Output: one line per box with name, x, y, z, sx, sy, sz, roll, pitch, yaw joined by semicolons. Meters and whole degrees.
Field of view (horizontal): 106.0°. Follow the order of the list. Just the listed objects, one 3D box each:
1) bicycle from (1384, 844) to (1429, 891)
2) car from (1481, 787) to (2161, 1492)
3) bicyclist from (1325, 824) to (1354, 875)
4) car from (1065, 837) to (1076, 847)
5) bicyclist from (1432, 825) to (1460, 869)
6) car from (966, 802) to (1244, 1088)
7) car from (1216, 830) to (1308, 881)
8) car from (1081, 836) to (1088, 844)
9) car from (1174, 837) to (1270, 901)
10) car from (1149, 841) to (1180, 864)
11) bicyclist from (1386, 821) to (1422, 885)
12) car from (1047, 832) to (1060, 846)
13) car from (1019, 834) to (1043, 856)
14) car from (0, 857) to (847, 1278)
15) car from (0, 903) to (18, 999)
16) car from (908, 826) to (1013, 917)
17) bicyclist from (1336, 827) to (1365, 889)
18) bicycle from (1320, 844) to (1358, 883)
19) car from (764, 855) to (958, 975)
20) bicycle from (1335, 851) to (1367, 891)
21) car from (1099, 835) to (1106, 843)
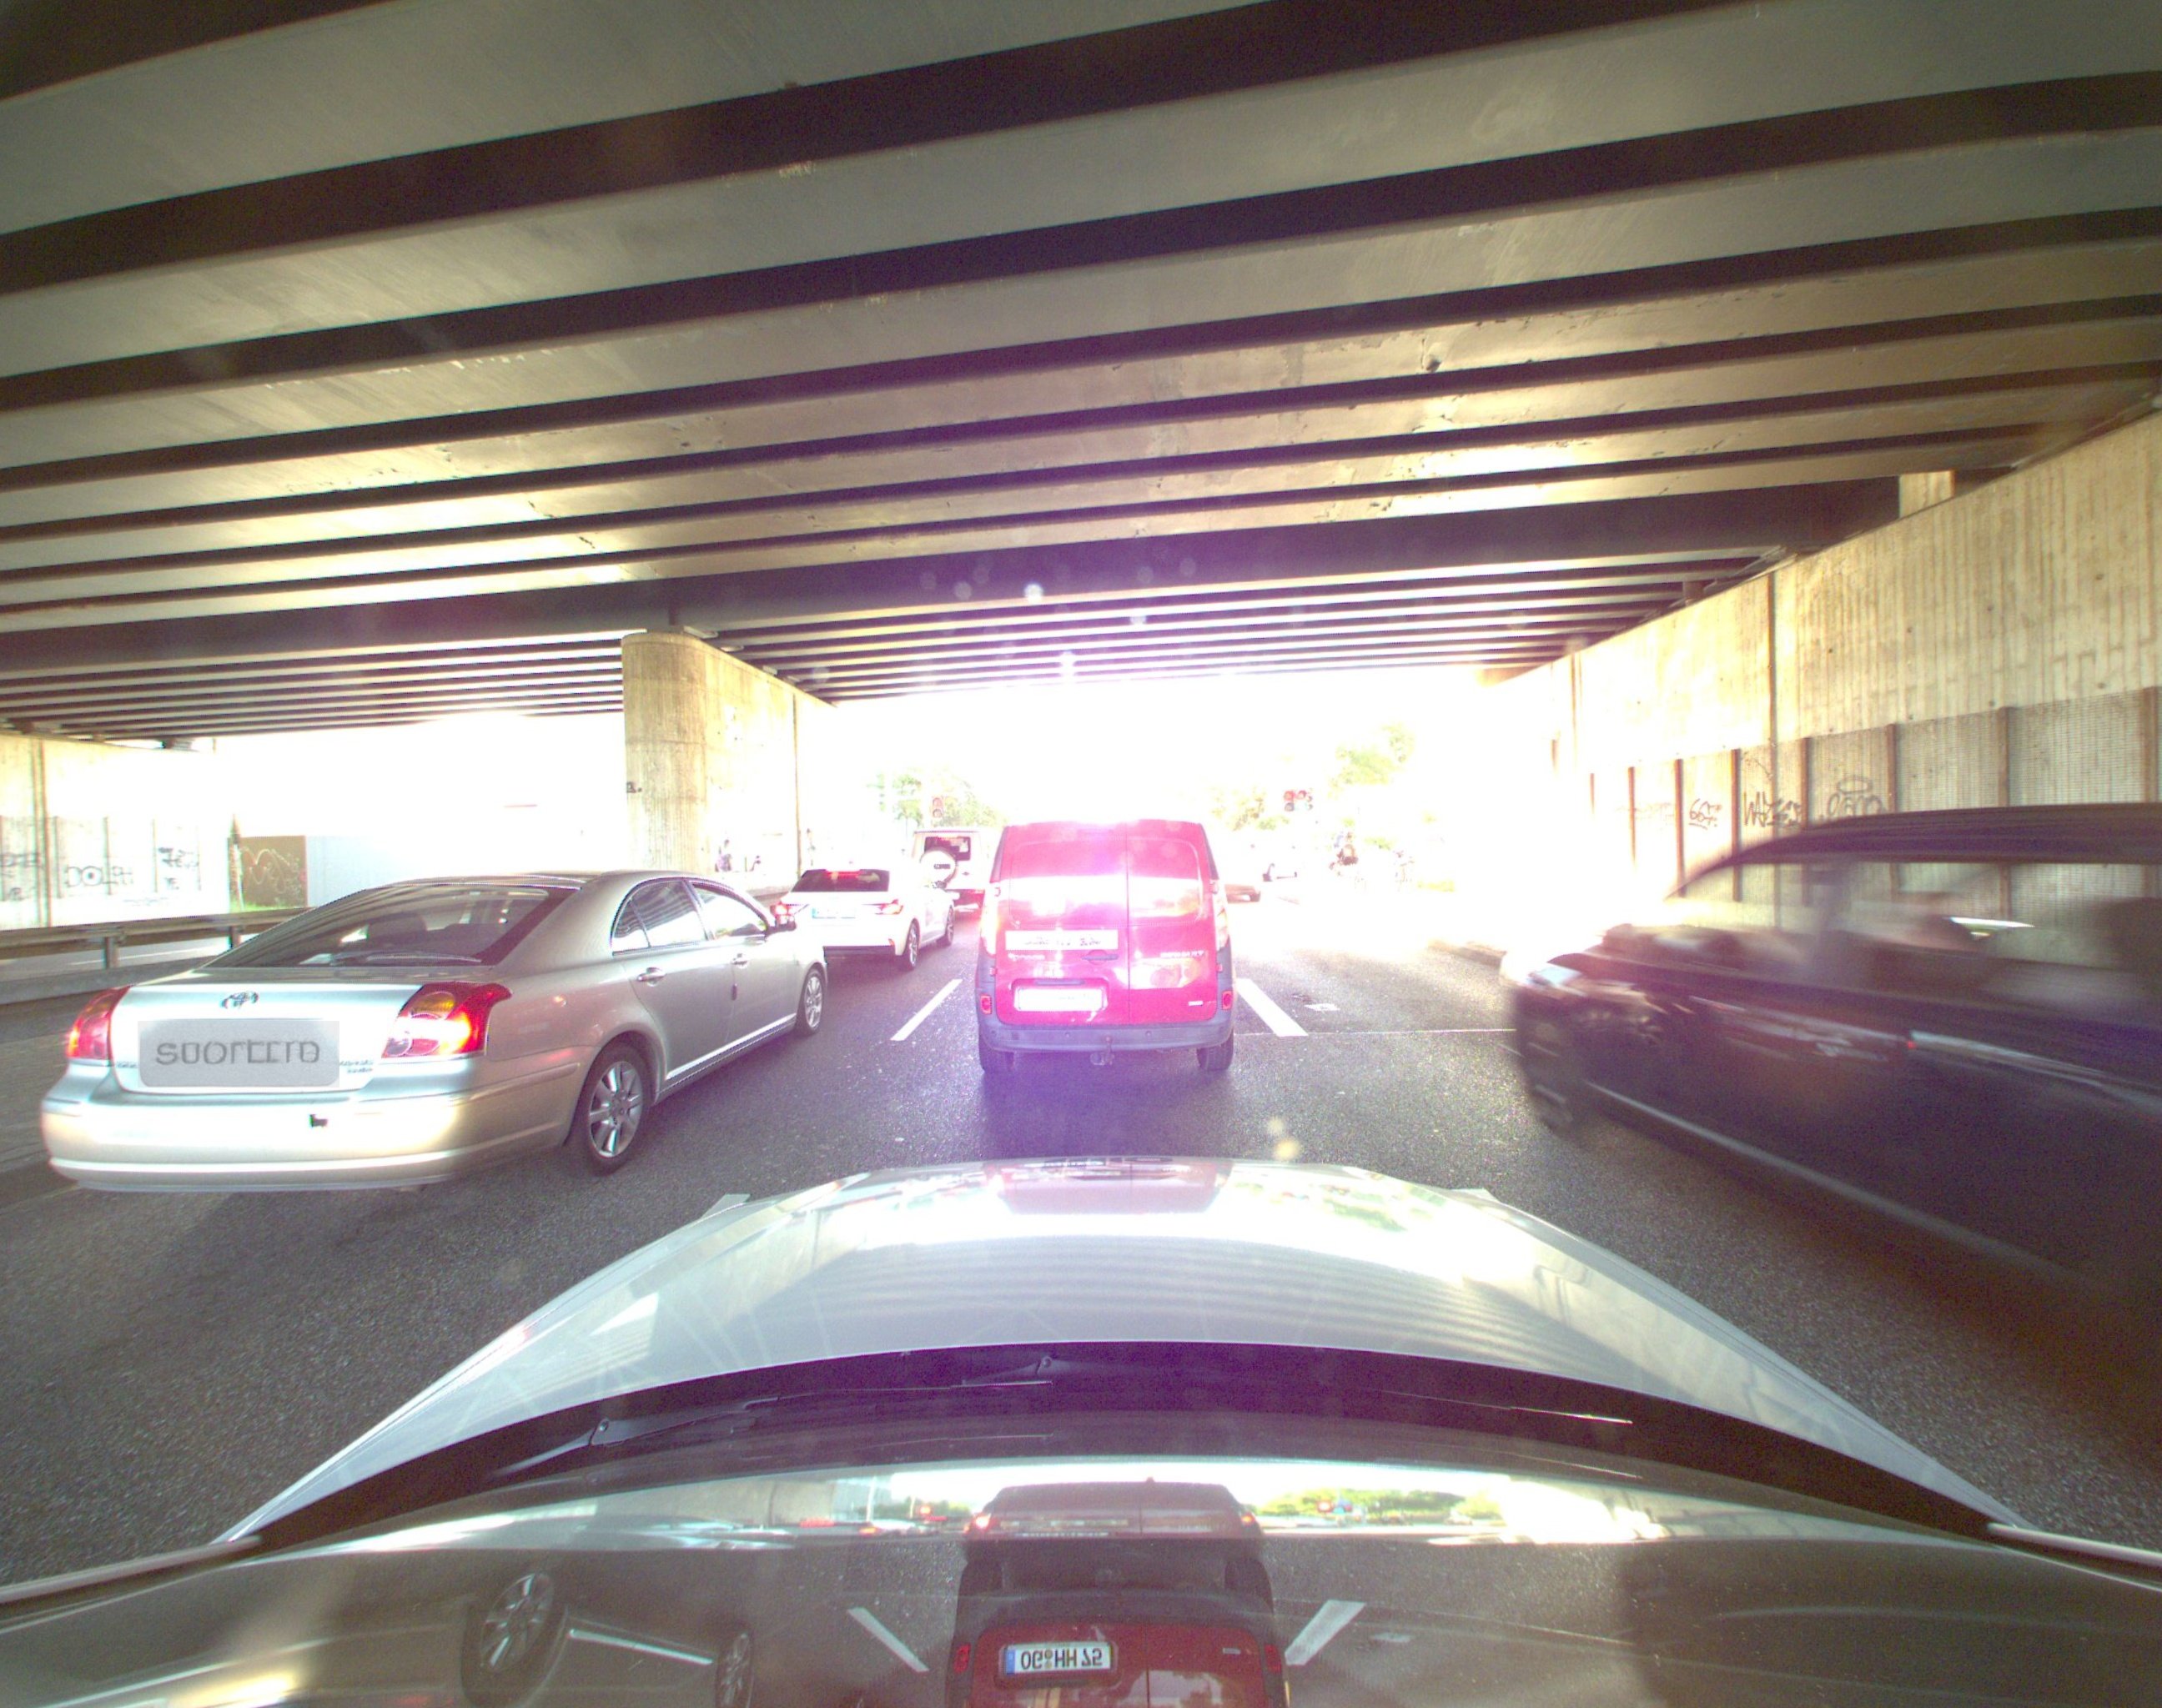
bicycle;8.208;0.337;20.595;0.677;1.113;1.607;-2;-1;8
car;3.332;0.652;2.913;1.769;1.601;4.104;0;0;0
bicyclist;8.042;-0.133;25.311;0.646;1.534;0.852;-1;0;32
car;-2.145;-2.544;168.210;1.986;2.014;4.001;0;0;2
bicyclist;13.926;-0.272;31.069;0.739;1.655;0.892;-1;0;41
car;0.210;0.564;7.064;1.712;1.764;4.002;0;0;2
car;7.288;-0.002;32.416;1.879;1.836;4.867;-1;1;34
car;0.905;-3.634;216.638;1.922;2.014;3.915;0;0;2
car;3.825;0.400;22.830;1.986;1.551;4.422;-2;-1;1
car;5.356;-0.103;52.740;1.739;1.456;3.718;0;0;2
bicyclist;8.215;-0.024;20.732;0.666;1.561;0.737;-2;-1;8
car;-4.223;-2.282;126.016;1.741;2.014;3.846;0;0;2
car;-4.832;-0.862;79.947;1.986;2.014;4.001;0;0;2
car;-2.990;0.770;5.102;1.690;1.455;4.399;0;0;1
car;-14.207;1.247;8.202;1.678;1.175;4.000;-3;0;0
car;-2.690;0.362;19.046;1.807;1.904;3.814;0;0;1
bicyclist;7.173;0.115;21.680;0.673;1.629;0.646;0;-1;12
bicycle;8.006;0.284;25.233;0.644;1.167;1.789;-1;0;32
car;-2.923;0.733;11.667;1.687;1.410;3.814;0;0;1
bicycle;7.172;0.434;21.681;0.672;1.024;1.534;0;0;12
car;5.861;-4.014;220.880;1.986;2.014;4.001;0;0;2
